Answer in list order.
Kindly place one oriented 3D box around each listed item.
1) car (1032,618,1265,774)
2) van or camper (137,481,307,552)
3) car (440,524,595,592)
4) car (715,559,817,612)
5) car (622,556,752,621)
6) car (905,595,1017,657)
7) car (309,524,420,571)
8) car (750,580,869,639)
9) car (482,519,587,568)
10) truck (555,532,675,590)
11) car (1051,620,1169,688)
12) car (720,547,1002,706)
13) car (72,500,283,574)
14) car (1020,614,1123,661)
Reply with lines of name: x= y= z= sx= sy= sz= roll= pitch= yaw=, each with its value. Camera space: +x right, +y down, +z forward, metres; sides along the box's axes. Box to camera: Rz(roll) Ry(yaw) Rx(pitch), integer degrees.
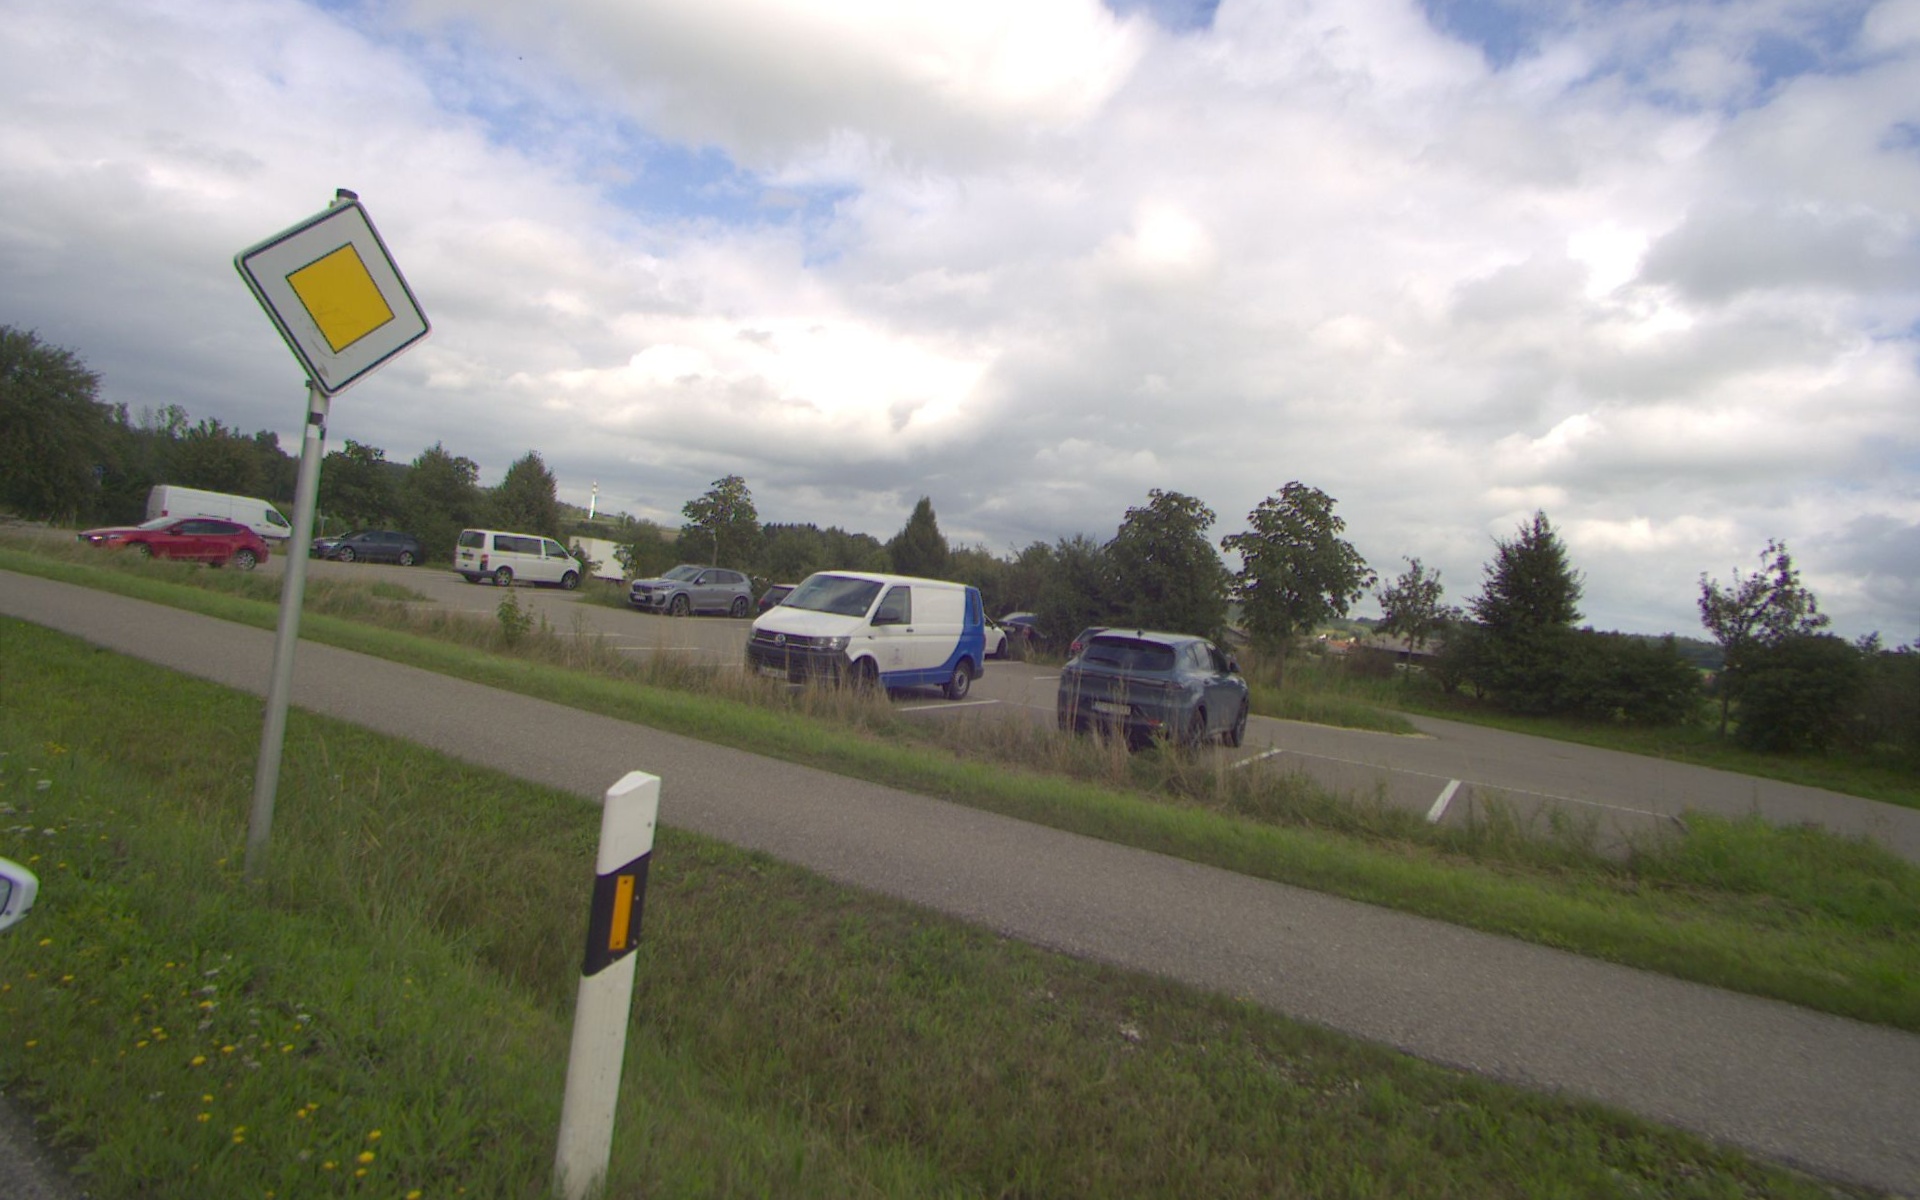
car: x=2.752 y=1.195 z=13.801 sx=1.806 sy=1.586 sz=4.277 roll=7 pitch=1 yaw=28
van or camper: x=-38.322 y=-4.277 z=52.515 sx=2.015 sy=2.593 sz=6.751 roll=7 pitch=0 yaw=32
car: x=-16.783 y=-1.550 z=38.450 sx=2.193 sy=2.026 sz=5.033 roll=7 pitch=1 yaw=27
car: x=-7.600 y=-0.538 z=39.770 sx=1.963 sy=1.615 sz=3.999 roll=7 pitch=0 yaw=21
car: x=-8.756 y=-0.329 z=32.488 sx=1.731 sy=1.627 sz=3.690 roll=7 pitch=0 yaw=34
car: x=0.104 y=0.773 z=28.302 sx=1.727 sy=1.408 sz=3.698 roll=7 pitch=0 yaw=23
car: x=-25.363 y=-2.225 z=42.956 sx=1.678 sy=1.457 sz=3.631 roll=7 pitch=0 yaw=30
car: x=-4.445 y=0.316 z=30.236 sx=1.727 sy=1.408 sz=3.698 roll=7 pitch=0 yaw=23
car: x=-18.942 y=-2.485 z=44.997 sx=1.963 sy=1.615 sz=3.999 roll=7 pitch=0 yaw=21
truck: x=-21.927 y=-2.415 z=64.281 sx=2.784 sy=2.748 sz=6.891 roll=7 pitch=0 yaw=30
car: x=3.874 y=1.397 z=25.568 sx=1.700 sy=1.408 sz=3.695 roll=7 pitch=0 yaw=28
car: x=-1.352 y=0.498 z=16.172 sx=1.921 sy=1.998 sz=4.956 roll=7 pitch=0 yaw=28
car: x=-22.439 y=-1.766 z=29.034 sx=1.937 sy=1.595 sz=4.336 roll=7 pitch=1 yaw=27
car: x=3.738 y=1.252 z=33.162 sx=1.965 sy=1.181 sz=3.995 roll=7 pitch=0 yaw=28
